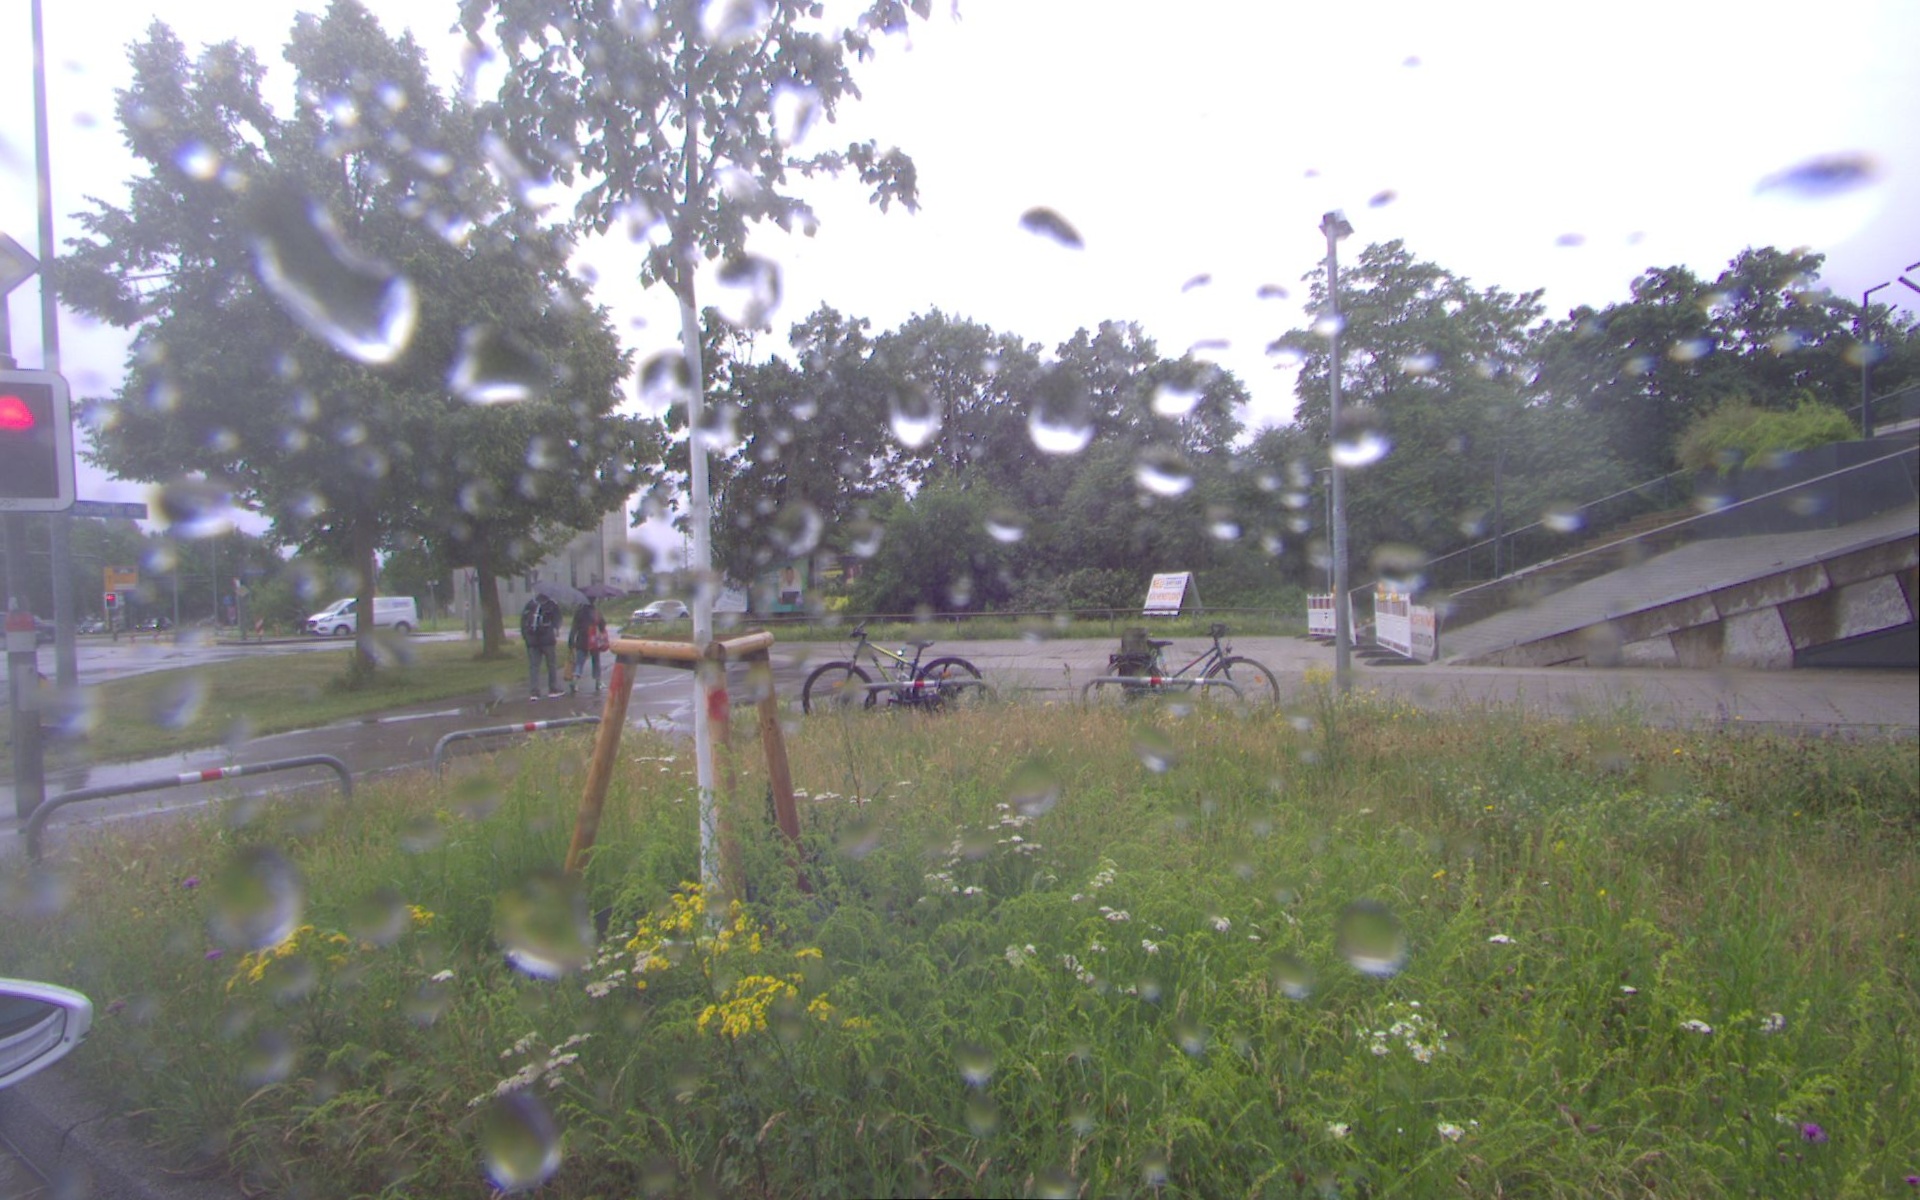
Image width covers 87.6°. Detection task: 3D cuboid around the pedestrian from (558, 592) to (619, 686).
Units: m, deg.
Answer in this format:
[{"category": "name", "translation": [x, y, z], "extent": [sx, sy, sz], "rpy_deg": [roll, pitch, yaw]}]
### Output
[{"category": "pedestrian", "translation": [-6.091, 0.632, 16.412], "extent": [0.564, 1.480, 0.679], "rpy_deg": [-1, 1, 28]}]

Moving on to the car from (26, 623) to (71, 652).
[{"category": "car", "translation": [-49.999, 2.017, 54.925], "extent": [3.947, 1.473, 1.608], "rpy_deg": [-1, 0, 45]}]

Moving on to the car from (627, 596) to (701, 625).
[{"category": "car", "translation": [-20.177, 0.693, 68.396], "extent": [1.972, 1.876, 4.749], "rpy_deg": [-1, 0, 33]}]

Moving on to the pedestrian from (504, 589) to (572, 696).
[{"category": "pedestrian", "translation": [-6.270, 0.623, 14.875], "extent": [0.730, 1.542, 0.620], "rpy_deg": [-1, -1, 31]}]

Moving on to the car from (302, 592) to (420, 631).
[{"category": "car", "translation": [-30.321, 0.637, 50.819], "extent": [1.972, 1.874, 4.751], "rpy_deg": [-2, -3, 33]}]

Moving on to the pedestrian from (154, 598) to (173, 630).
[{"category": "pedestrian", "translation": [-48.087, 0.837, 60.454], "extent": [0.660, 1.892, 0.813], "rpy_deg": [-2, -2, 40]}]

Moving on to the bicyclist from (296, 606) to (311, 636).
[{"category": "bicyclist", "translation": [-38.640, 1.252, 58.952], "extent": [0.579, 1.764, 0.496], "rpy_deg": [-1, -1, 2]}]

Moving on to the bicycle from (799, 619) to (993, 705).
[{"category": "bicycle", "translation": [-0.607, 0.598, 9.669], "extent": [1.823, 0.797, 0.380], "rpy_deg": [0, -2, -2]}]

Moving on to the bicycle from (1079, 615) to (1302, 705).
[{"category": "bicycle", "translation": [2.136, 0.564, 9.378], "extent": [1.972, 0.796, 0.454], "rpy_deg": [-1, -2, 15]}]

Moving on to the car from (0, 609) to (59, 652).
[{"category": "car", "translation": [-43.287, 1.349, 44.306], "extent": [4.689, 1.874, 1.999], "rpy_deg": [0, -2, -14]}]

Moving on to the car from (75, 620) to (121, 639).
[{"category": "car", "translation": [-81.414, 2.787, 94.635], "extent": [1.770, 1.683, 3.995], "rpy_deg": [0, -2, -16]}]

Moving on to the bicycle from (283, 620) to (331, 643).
[{"category": "bicycle", "translation": [-38.456, 1.873, 58.941], "extent": [2.461, 1.330, 0.572], "rpy_deg": [-1, -2, 1]}]
